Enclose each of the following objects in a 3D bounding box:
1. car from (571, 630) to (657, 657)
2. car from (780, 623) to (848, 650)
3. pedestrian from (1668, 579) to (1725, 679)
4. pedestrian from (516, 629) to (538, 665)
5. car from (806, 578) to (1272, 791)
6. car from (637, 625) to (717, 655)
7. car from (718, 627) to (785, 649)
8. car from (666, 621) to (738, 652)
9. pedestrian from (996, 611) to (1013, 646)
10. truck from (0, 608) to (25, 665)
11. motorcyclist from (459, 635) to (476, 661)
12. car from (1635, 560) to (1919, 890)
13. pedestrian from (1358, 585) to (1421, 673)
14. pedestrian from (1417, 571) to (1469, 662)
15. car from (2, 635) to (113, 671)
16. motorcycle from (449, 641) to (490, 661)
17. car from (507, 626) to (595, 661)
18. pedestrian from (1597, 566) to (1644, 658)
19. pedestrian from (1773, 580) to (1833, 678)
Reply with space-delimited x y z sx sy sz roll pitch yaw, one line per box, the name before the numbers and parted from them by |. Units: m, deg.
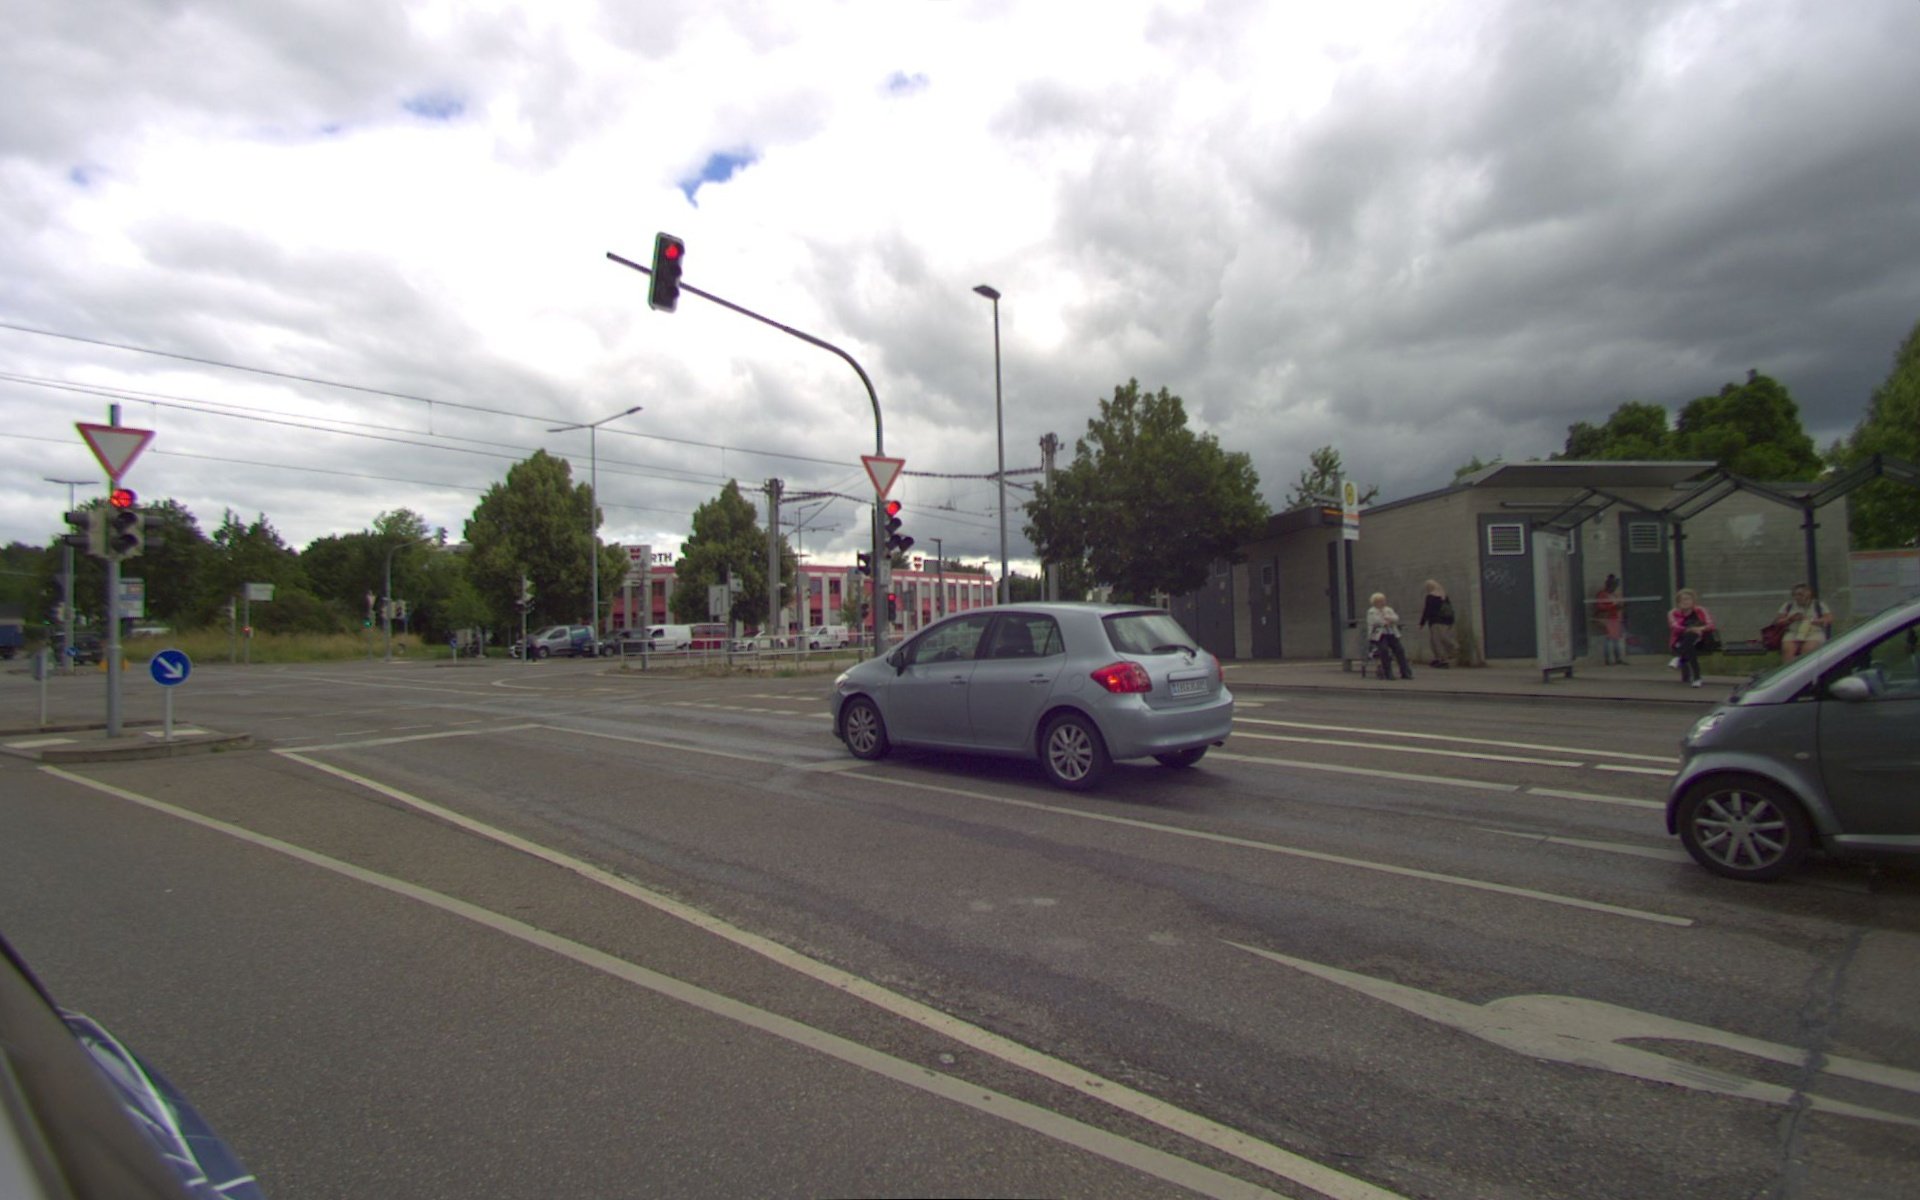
car | -18.922 2.404 55.466 1.811 1.351 4.170 -2 -5 36
car | -11.108 2.775 77.068 1.949 1.920 5.169 -2 -2 39
pedestrian | 10.251 0.401 14.073 0.550 1.340 0.764 -2 -2 40
pedestrian | -19.341 2.093 45.228 0.715 1.542 0.661 -3 -2 40
car | 0.541 0.686 9.530 4.222 1.547 1.806 -2 -3 45
car | -17.582 2.474 63.118 1.813 1.806 4.635 -2 -3 39
car | -13.921 2.570 67.686 1.812 1.351 4.168 -2 -5 38
car | -17.383 2.508 68.332 2.179 1.920 4.402 -2 -5 34
pedestrian | 2.054 1.295 46.758 0.563 1.584 0.539 -2 0 35
truck | -68.209 2.608 70.757 8.376 3.833 2.752 -2 -2 38
motorcyclist | -28.132 2.753 57.802 0.803 1.432 0.762 0 -3 -19
car | 5.186 0.588 5.034 1.411 1.538 2.777 1 -2 -43
pedestrian | 6.930 0.464 16.320 0.774 1.374 0.543 -2 -2 41
pedestrian | 9.046 0.310 18.979 0.541 1.682 0.640 -1 -2 -14
car | -50.469 2.939 56.618 4.833 1.891 1.995 -1 -2 8
motorcycle | -27.998 2.925 57.833 2.034 1.099 0.762 -1 -3 -19
car | -22.391 2.374 55.506 1.812 1.793 4.168 -2 -2 38
pedestrian | 12.375 0.227 18.972 0.542 1.682 0.430 -1 -2 -5
pedestrian | 11.089 0.377 13.320 0.550 1.236 0.764 -2 -2 40
